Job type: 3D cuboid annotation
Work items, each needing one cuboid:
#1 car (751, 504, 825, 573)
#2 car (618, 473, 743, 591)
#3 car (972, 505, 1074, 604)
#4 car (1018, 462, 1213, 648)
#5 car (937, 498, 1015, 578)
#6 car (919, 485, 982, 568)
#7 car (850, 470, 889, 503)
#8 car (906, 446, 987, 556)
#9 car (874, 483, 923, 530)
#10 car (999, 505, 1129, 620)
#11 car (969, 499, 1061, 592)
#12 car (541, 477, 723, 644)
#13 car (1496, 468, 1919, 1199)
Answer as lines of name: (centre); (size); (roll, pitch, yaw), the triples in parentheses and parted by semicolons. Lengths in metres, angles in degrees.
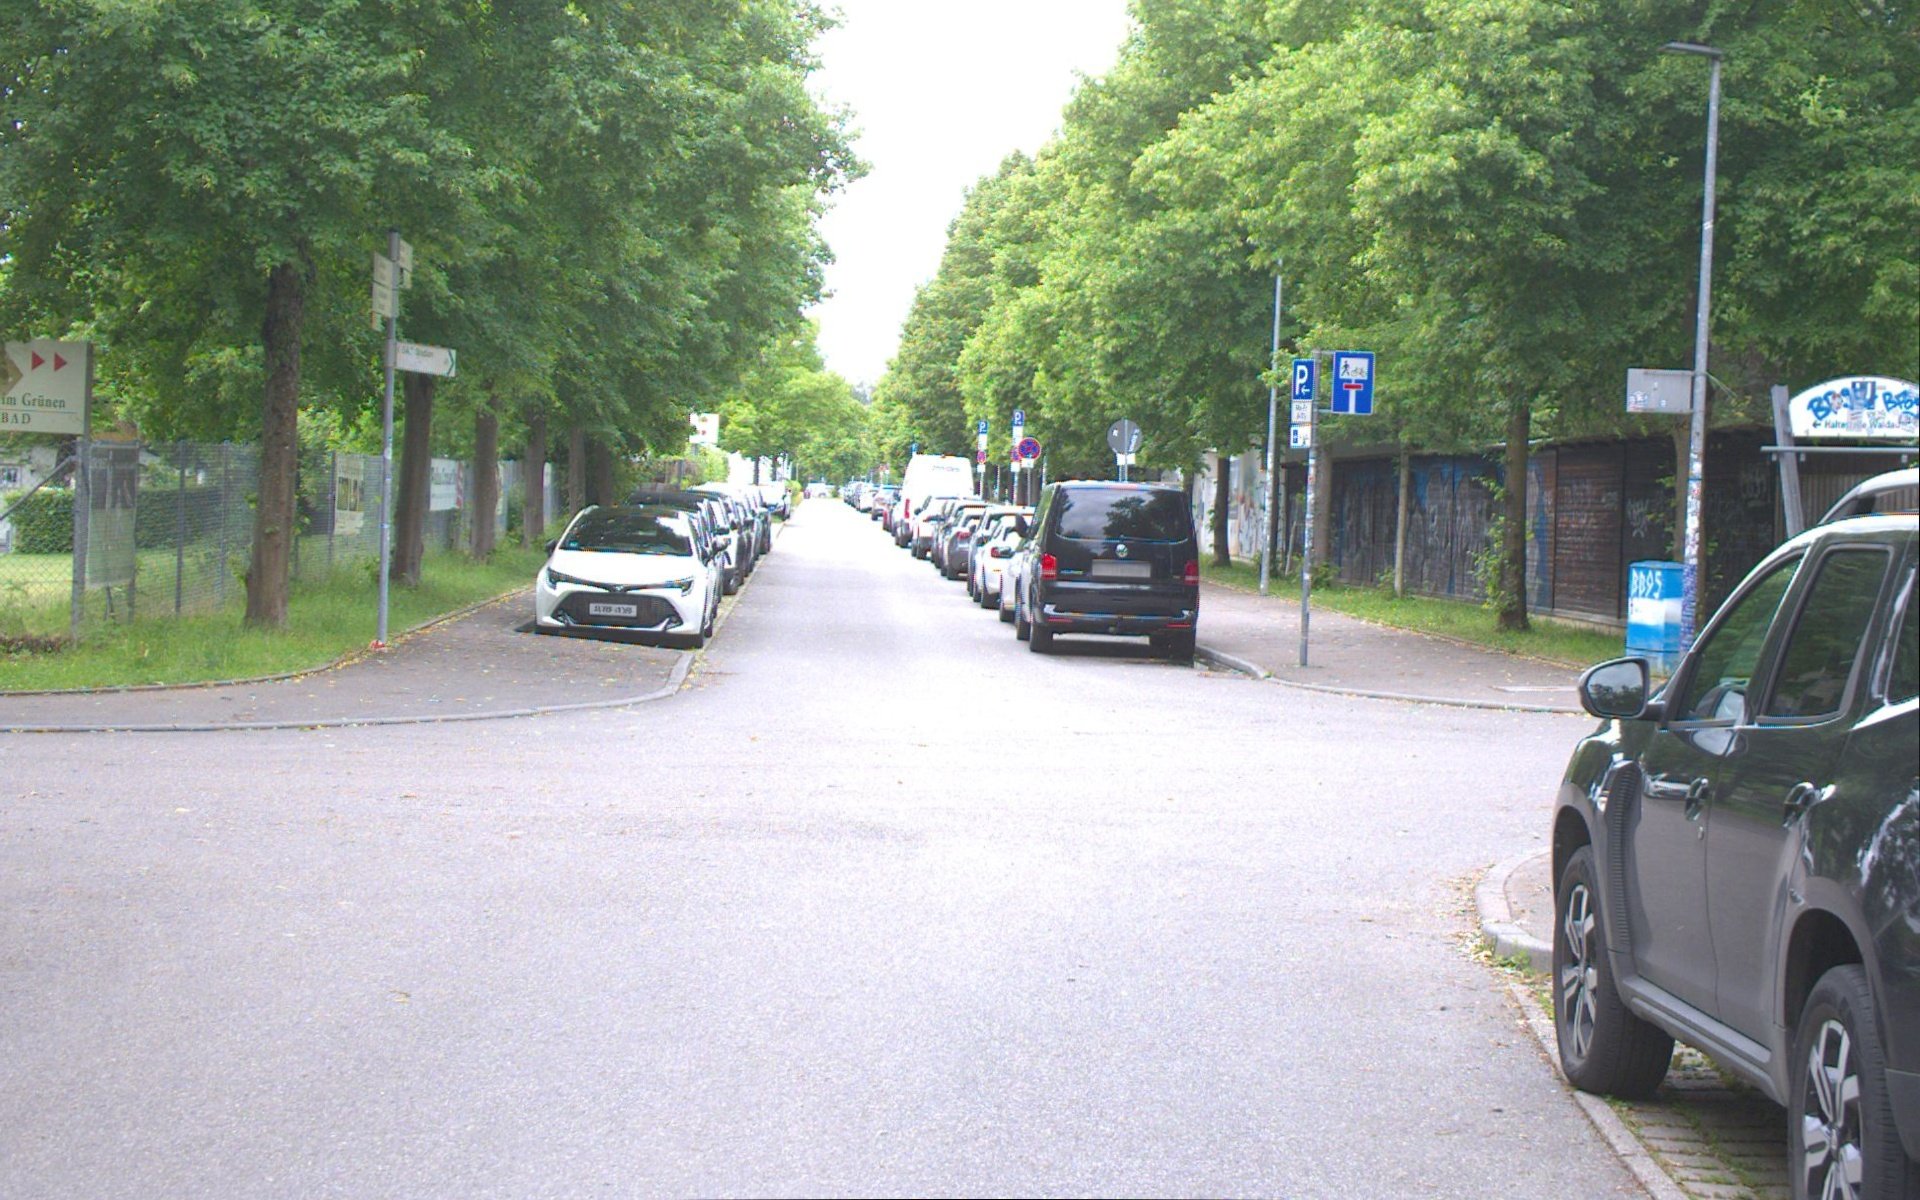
car: (-4.001, -1.434, 79.560); (1.593, 1.554, 3.194); (0, 2, -5)
car: (-4.147, -1.031, 51.260); (1.691, 1.590, 4.000); (4, 1, -4)
car: (0.962, -0.736, 53.955); (1.469, 1.476, 3.189); (1, 2, -1)
car: (1.751, -0.551, 39.952); (1.988, 2.007, 4.108); (1, 2, -1)
car: (0.303, -1.241, 68.057); (1.469, 1.526, 3.189); (1, 2, -1)
car: (-0.257, -1.805, 83.921); (1.469, 1.961, 3.189); (1, 2, -1)
car: (-5.012, -6.271, 190.807); (1.898, 1.700, 4.064); (1, 0, 2)
car: (-0.409, -2.813, 97.520); (2.184, 3.005, 4.897); (1, 2, -1)
car: (-2.800, -4.264, 157.420); (1.993, 2.007, 4.000); (1, 0, 2)
car: (1.379, -0.539, 46.768); (1.597, 1.476, 3.521); (1, 2, -1)
car: (0.922, -0.964, 59.077); (1.469, 1.526, 3.189); (1, 2, -1)
car: (-3.513, -0.461, 37.211); (1.764, 1.590, 4.217); (4, 1, -5)
car: (2.516, 0.559, 7.950); (1.736, 1.628, 4.376); (1, 1, -1)
